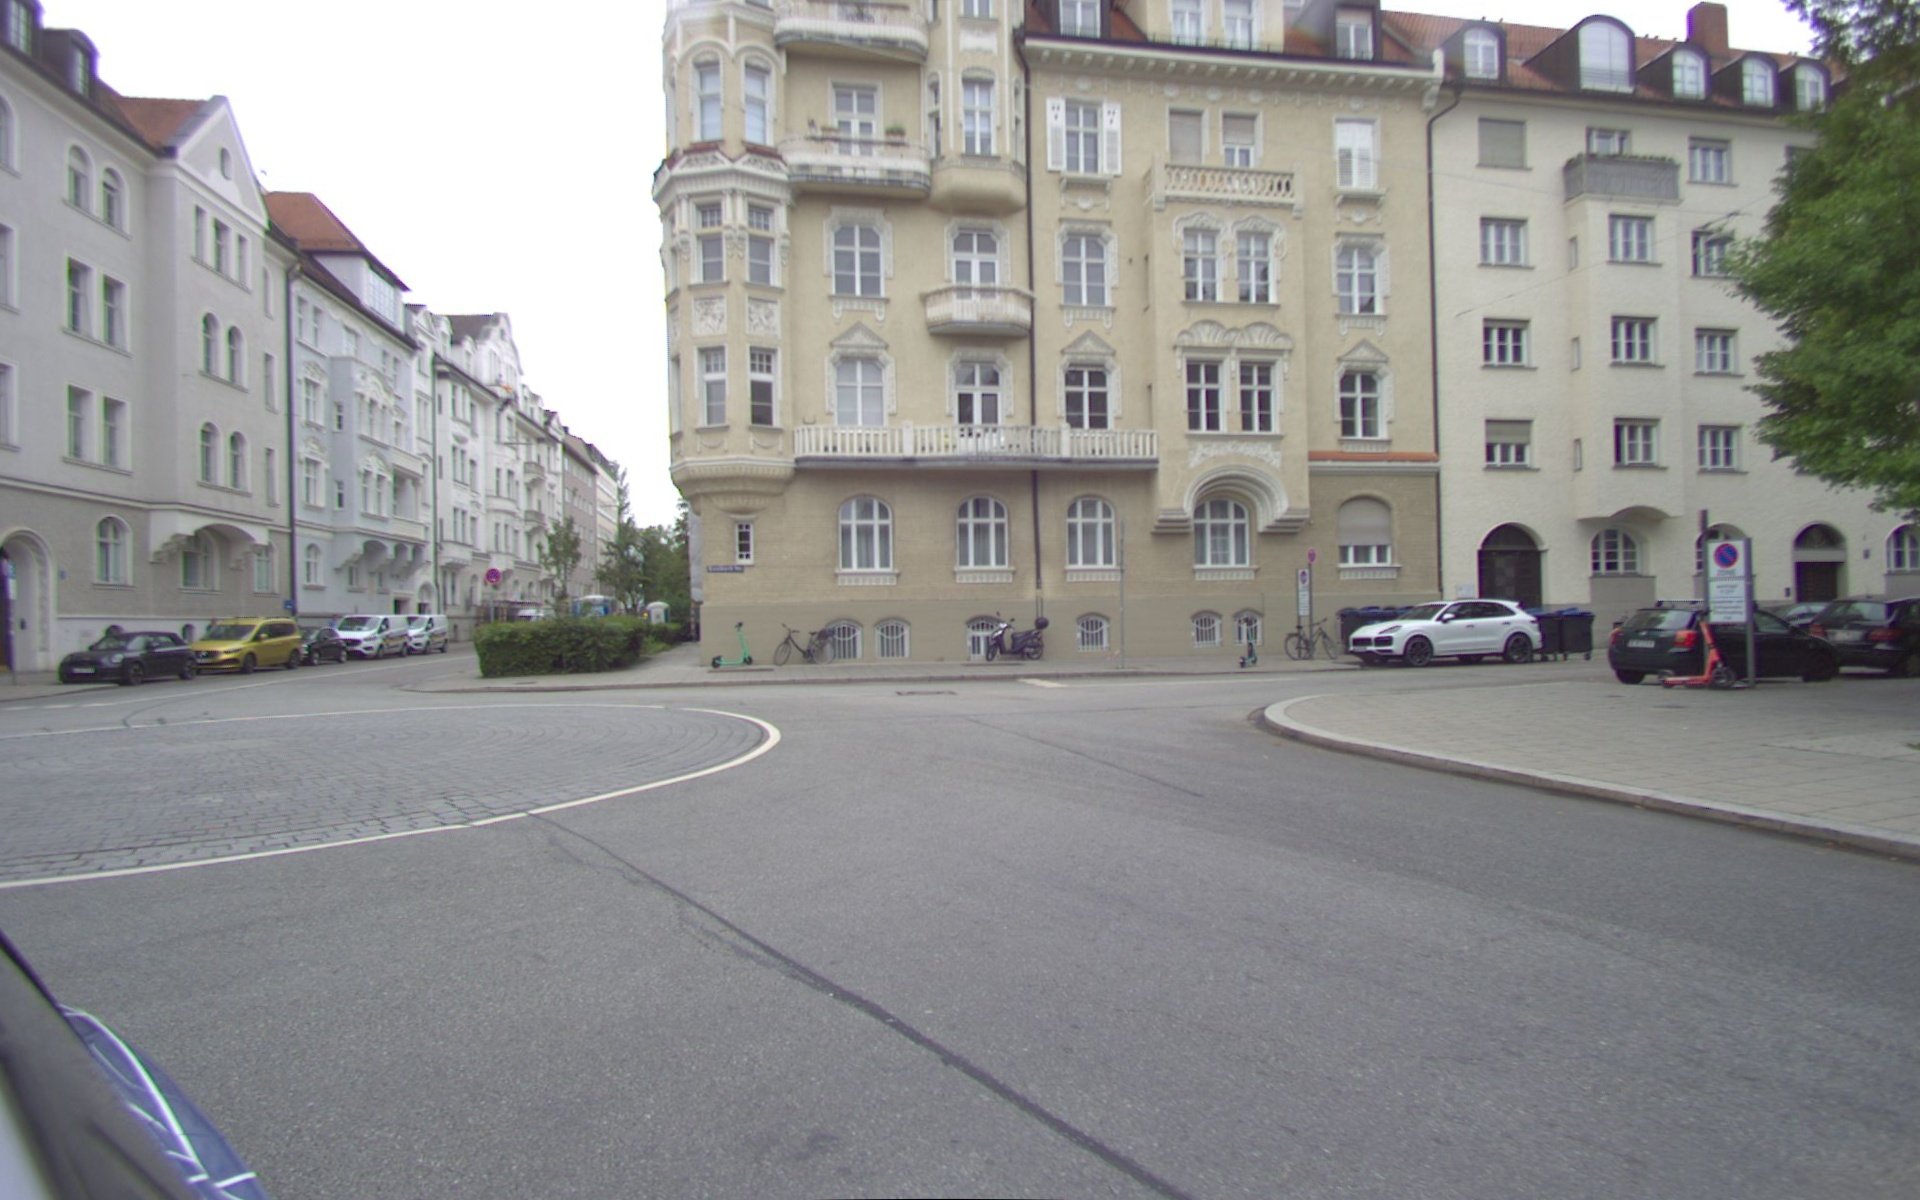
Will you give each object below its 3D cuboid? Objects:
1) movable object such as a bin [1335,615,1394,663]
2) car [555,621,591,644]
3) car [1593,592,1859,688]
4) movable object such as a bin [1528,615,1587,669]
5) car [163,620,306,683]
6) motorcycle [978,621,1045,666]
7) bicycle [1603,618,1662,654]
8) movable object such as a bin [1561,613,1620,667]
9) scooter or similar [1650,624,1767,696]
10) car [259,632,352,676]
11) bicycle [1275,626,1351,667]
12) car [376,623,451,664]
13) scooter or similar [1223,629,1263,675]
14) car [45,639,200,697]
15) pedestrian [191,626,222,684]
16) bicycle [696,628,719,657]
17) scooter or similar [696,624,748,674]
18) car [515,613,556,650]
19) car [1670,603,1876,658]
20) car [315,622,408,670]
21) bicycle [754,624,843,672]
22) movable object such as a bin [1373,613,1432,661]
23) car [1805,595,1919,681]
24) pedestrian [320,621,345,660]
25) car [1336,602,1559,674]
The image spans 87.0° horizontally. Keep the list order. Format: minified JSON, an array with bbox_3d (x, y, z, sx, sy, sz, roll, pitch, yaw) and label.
[{"bbox_3d":[12.029,1.156,30.141,1.162,1.381,1.150,-1,-1,-9],"label":"movable object such as a bin"},{"bbox_3d":[-28.897,2.414,75.748,1.888,1.670,4.613,-1,-1,-13],"label":"car"},{"bbox_3d":[13.488,0.716,17.914,3.616,1.540,1.679,-1,-4,-11],"label":"car"},{"bbox_3d":[15.985,1.112,27.085,0.904,1.411,0.954,-1,-1,-8],"label":"movable object such as a bin"},{"bbox_3d":[-24.302,1.681,34.138,1.969,1.933,4.577,-1,-1,-7],"label":"car"},{"bbox_3d":[1.442,1.220,28.373,1.717,1.195,0.744,-1,-2,-14],"label":"motorcycle"},{"bbox_3d":[21.448,1.146,32.289,1.784,1.077,0.552,-1,-2,-19],"label":"bicycle"},{"bbox_3d":[16.915,1.074,27.180,0.904,1.411,0.954,-1,-1,-8],"label":"movable object such as a bin"},{"bbox_3d":[11.420,0.898,15.480,0.519,1.032,1.315,-1,-2,-23],"label":"scooter or similar"},{"bbox_3d":[-25.336,2.053,39.315,1.612,1.525,3.892,-1,-1,-9],"label":"car"},{"bbox_3d":[9.668,1.261,27.744,1.942,1.077,0.656,-1,-2,-19],"label":"bicycle"},{"bbox_3d":[-27.488,2.153,51.108,1.967,1.933,4.889,-1,-1,-11],"label":"car"},{"bbox_3d":[7.206,1.300,25.727,0.541,1.117,1.331,-2,-2,35],"label":"scooter or similar"},{"bbox_3d":[-23.582,1.865,28.698,1.690,1.456,3.835,-1,-1,-9],"label":"car"},{"bbox_3d":[-26.831,1.963,36.043,0.576,2.029,0.728,-1,-2,-7],"label":"pedestrian"},{"bbox_3d":[-10.926,1.833,43.867,0.810,1.215,2.082,-2,-1,-10],"label":"bicycle"},{"bbox_3d":[-6.319,1.287,26.874,1.262,1.281,0.460,0,-1,-28],"label":"scooter or similar"},{"bbox_3d":[-32.177,2.344,76.860,2.048,2.709,5.459,1,-1,-14],"label":"car"},{"bbox_3d":[22.330,0.832,27.869,4.404,1.369,2.005,-1,-1,-11],"label":"car"},{"bbox_3d":[-26.364,1.983,44.795,1.968,1.933,4.896,-1,-1,-10],"label":"car"},{"bbox_3d":[-4.391,1.296,27.464,2.300,1.212,0.701,-1,-2,-15],"label":"bicycle"},{"bbox_3d":[13.224,1.107,30.277,1.162,1.381,1.150,-1,-1,-9],"label":"movable object such as a bin"},{"bbox_3d":[18.516,0.713,19.304,3.616,1.540,1.679,-1,-4,-11],"label":"car"},{"bbox_3d":[-31.015,1.988,50.038,0.841,1.917,0.747,-1,-1,-6],"label":"pedestrian"},{"bbox_3d":[12.528,0.950,26.117,4.908,1.688,2.005,-1,-1,-11],"label":"car"}]
